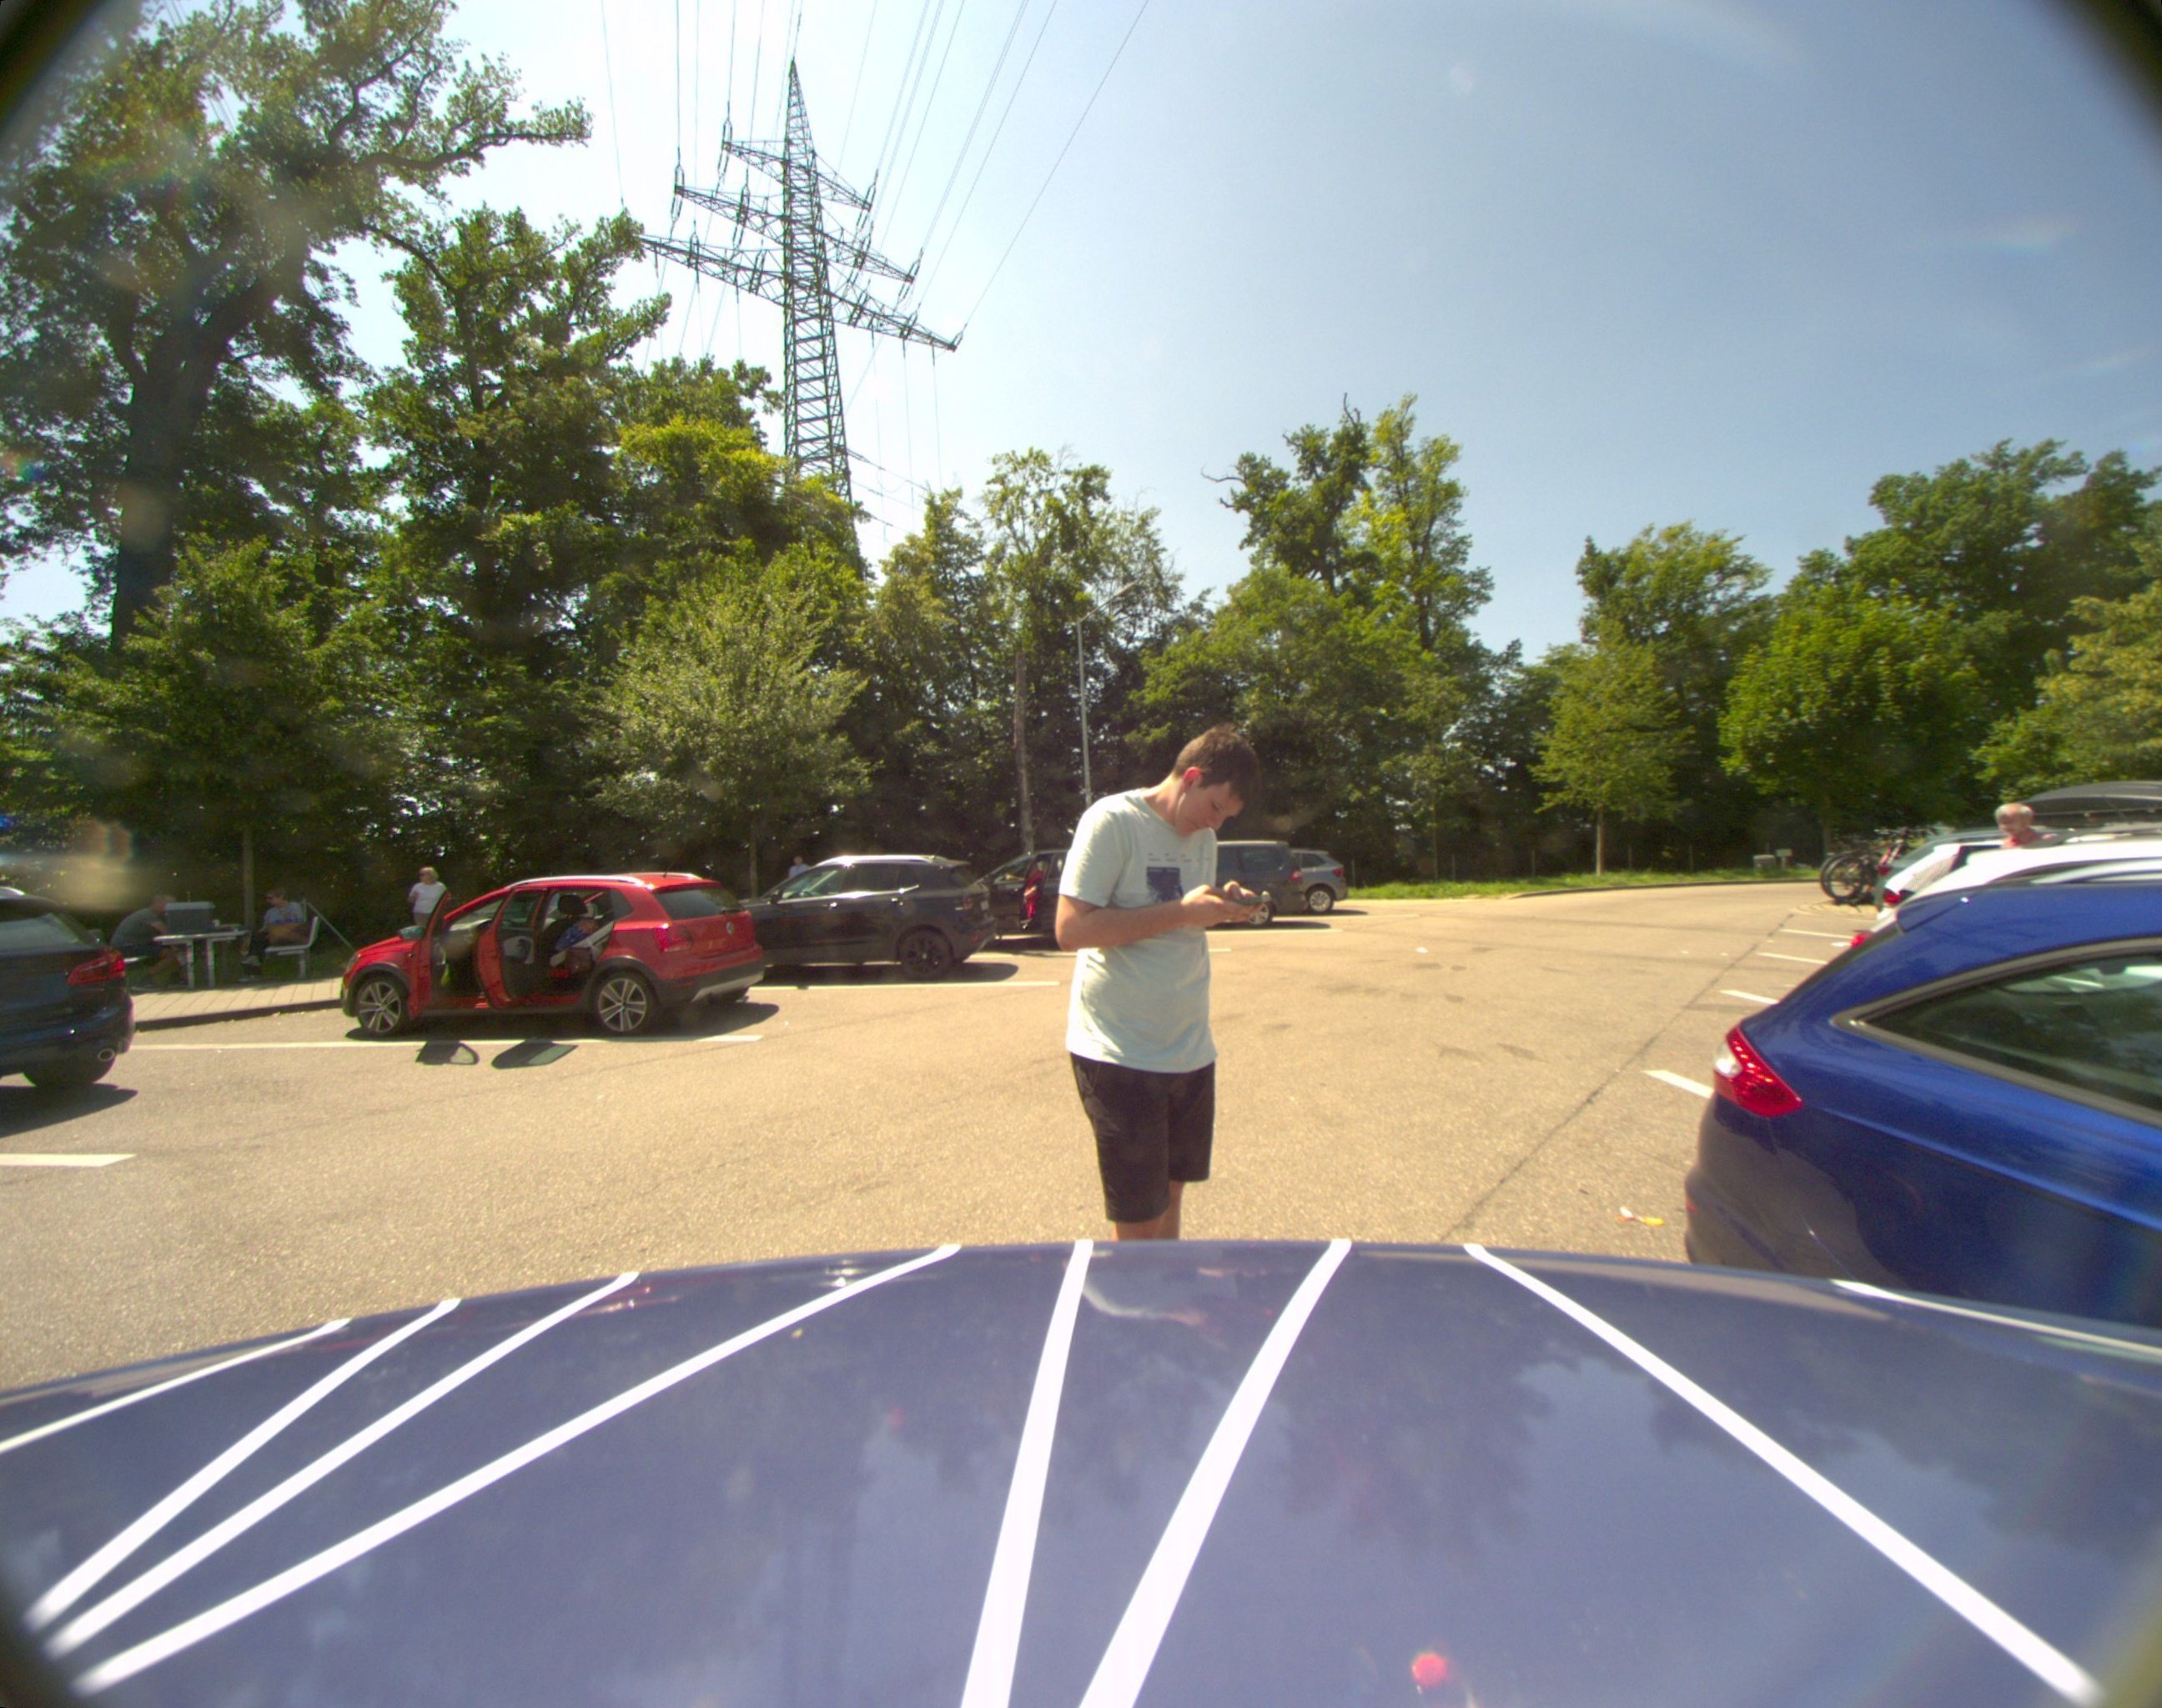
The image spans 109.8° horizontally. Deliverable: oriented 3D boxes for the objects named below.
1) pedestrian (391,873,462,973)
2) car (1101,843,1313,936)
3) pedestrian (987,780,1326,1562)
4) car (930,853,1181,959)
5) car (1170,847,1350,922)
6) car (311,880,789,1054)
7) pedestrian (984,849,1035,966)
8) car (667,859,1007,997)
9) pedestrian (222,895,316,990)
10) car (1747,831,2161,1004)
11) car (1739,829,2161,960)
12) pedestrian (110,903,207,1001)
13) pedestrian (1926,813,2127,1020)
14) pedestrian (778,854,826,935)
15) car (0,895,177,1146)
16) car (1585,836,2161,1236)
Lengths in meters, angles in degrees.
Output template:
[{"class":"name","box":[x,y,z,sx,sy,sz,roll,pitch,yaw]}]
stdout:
[{"class":"pedestrian","box":[-10.987,1.125,12.786,0.777,1.584,0.808,-2,0,-34]},{"class":"car","box":[2.496,0.699,15.467,3.964,1.678,1.781,-2,0,7]},{"class":"pedestrian","box":[0.169,0.703,1.962,0.687,1.699,0.578,-2,0,1]},{"class":"car","box":[-0.341,0.842,12.976,3.964,1.582,1.781,-2,0,8]},{"class":"car","box":[4.165,0.715,18.219,3.964,1.577,1.781,-2,0,7]},{"class":"car","box":[-5.208,1.074,7.738,3.704,1.448,1.781,-2,0,7]},{"class":"pedestrian","box":[-1.102,0.810,11.783,0.660,1.745,0.636,-2,0,1]},{"class":"car","box":[-3.160,0.940,10.398,3.966,1.582,1.841,-2,0,3]},{"class":"pedestrian","box":[-11.845,1.272,11.092,0.828,1.287,0.672,-2,0,24]},{"class":"car","box":[10.049,0.536,8.173,1.779,1.456,4.470,-2,-1,0]},{"class":"car","box":[12.351,0.479,10.957,1.779,1.456,4.470,-2,-1,0]},{"class":"pedestrian","box":[-12.696,1.325,10.471,0.652,1.262,0.672,-2,0,24]},{"class":"pedestrian","box":[7.805,0.491,6.315,0.672,1.592,0.759,-2,0,1]},{"class":"pedestrian","box":[-5.707,0.814,15.586,0.715,1.584,0.809,-2,0,-7]},{"class":"car","box":[-8.933,1.158,5.021,4.011,1.558,1.846,-2,0,6]},{"class":"car","box":[4.849,0.661,3.686,1.779,1.456,4.470,-2,-1,0]}]
